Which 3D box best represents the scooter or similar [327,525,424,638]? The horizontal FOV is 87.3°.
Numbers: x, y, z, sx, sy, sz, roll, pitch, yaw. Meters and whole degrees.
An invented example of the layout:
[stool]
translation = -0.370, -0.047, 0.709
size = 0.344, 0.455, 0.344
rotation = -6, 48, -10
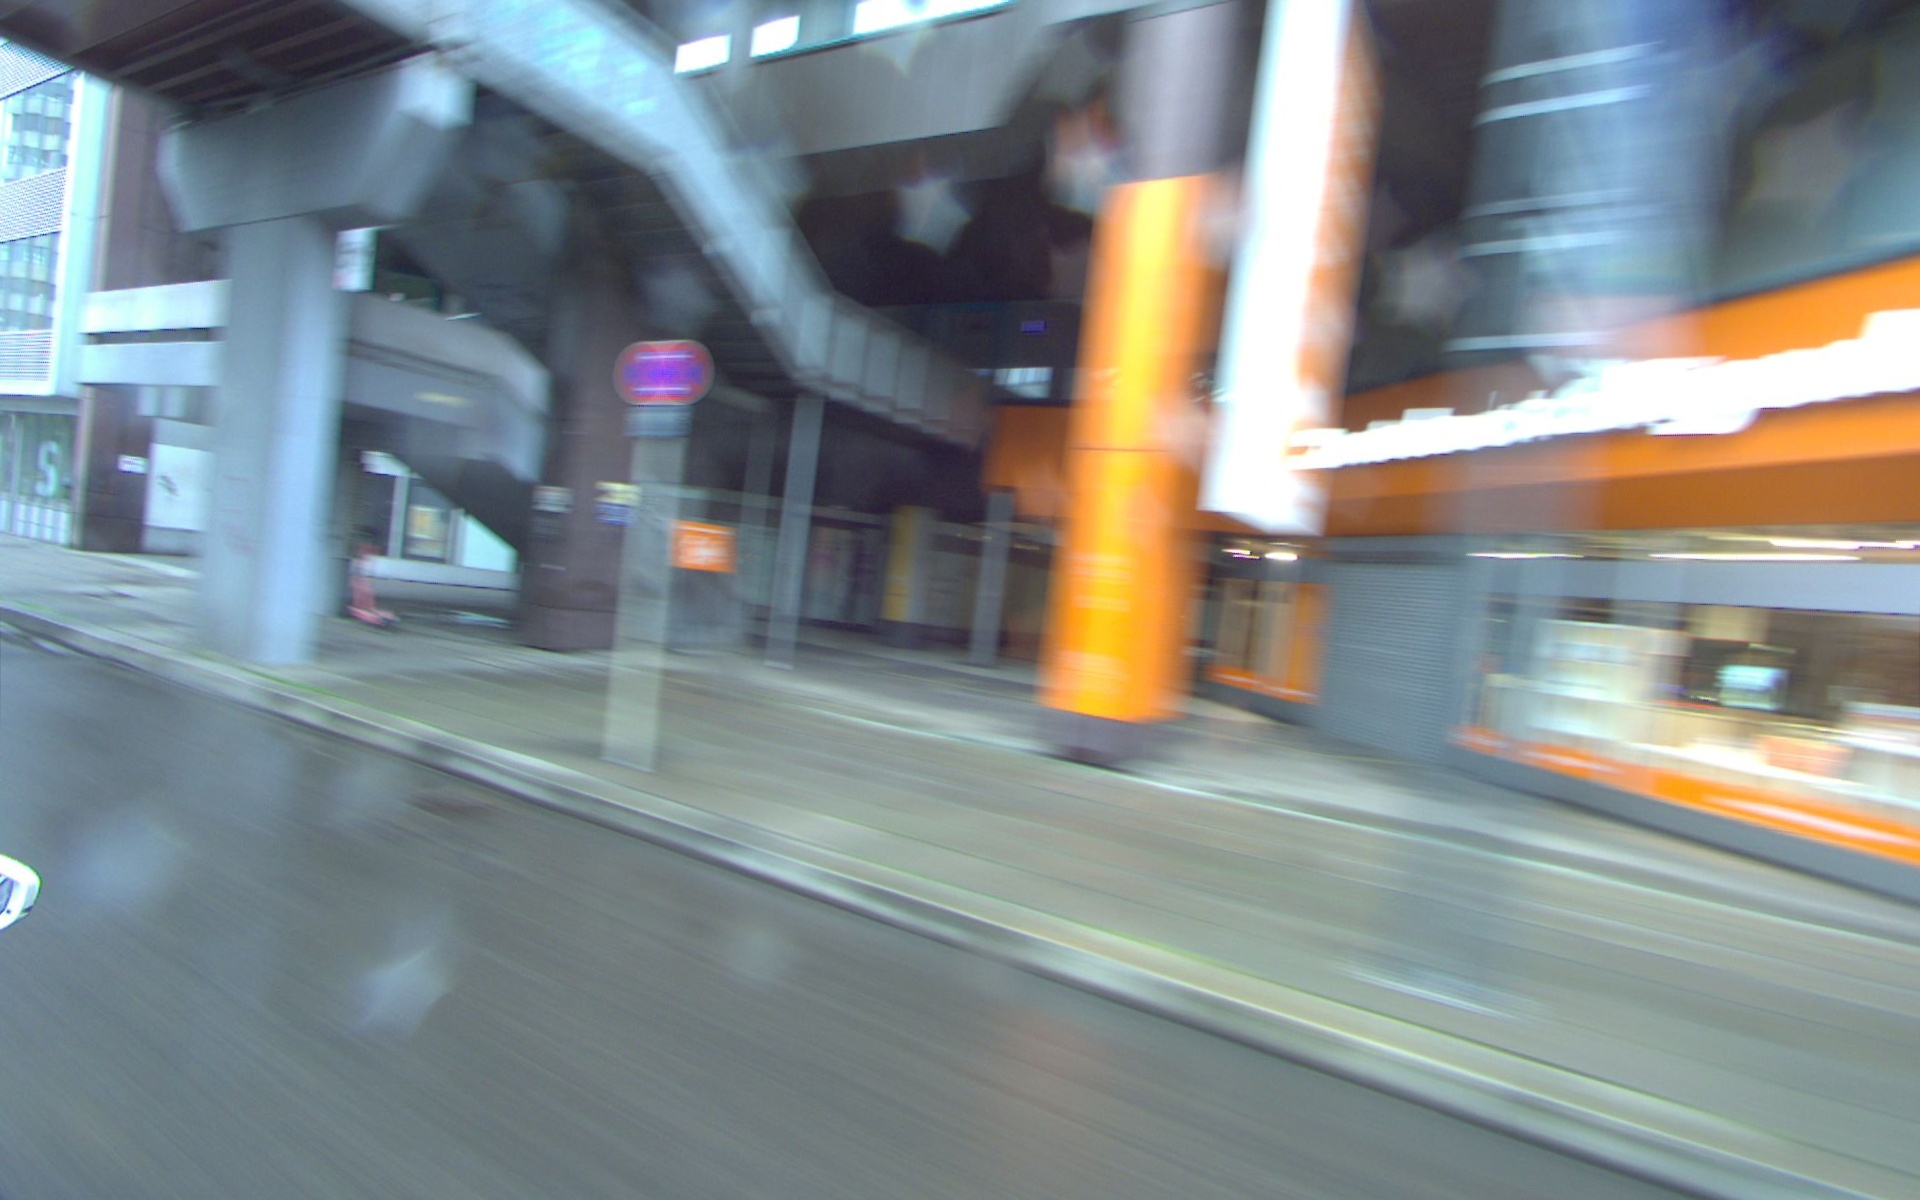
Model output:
[scooter or similar]
translation = -7.429, -0.244, 12.761
size = 1.371, 1.272, 0.350
rotation = 8, 2, 31
